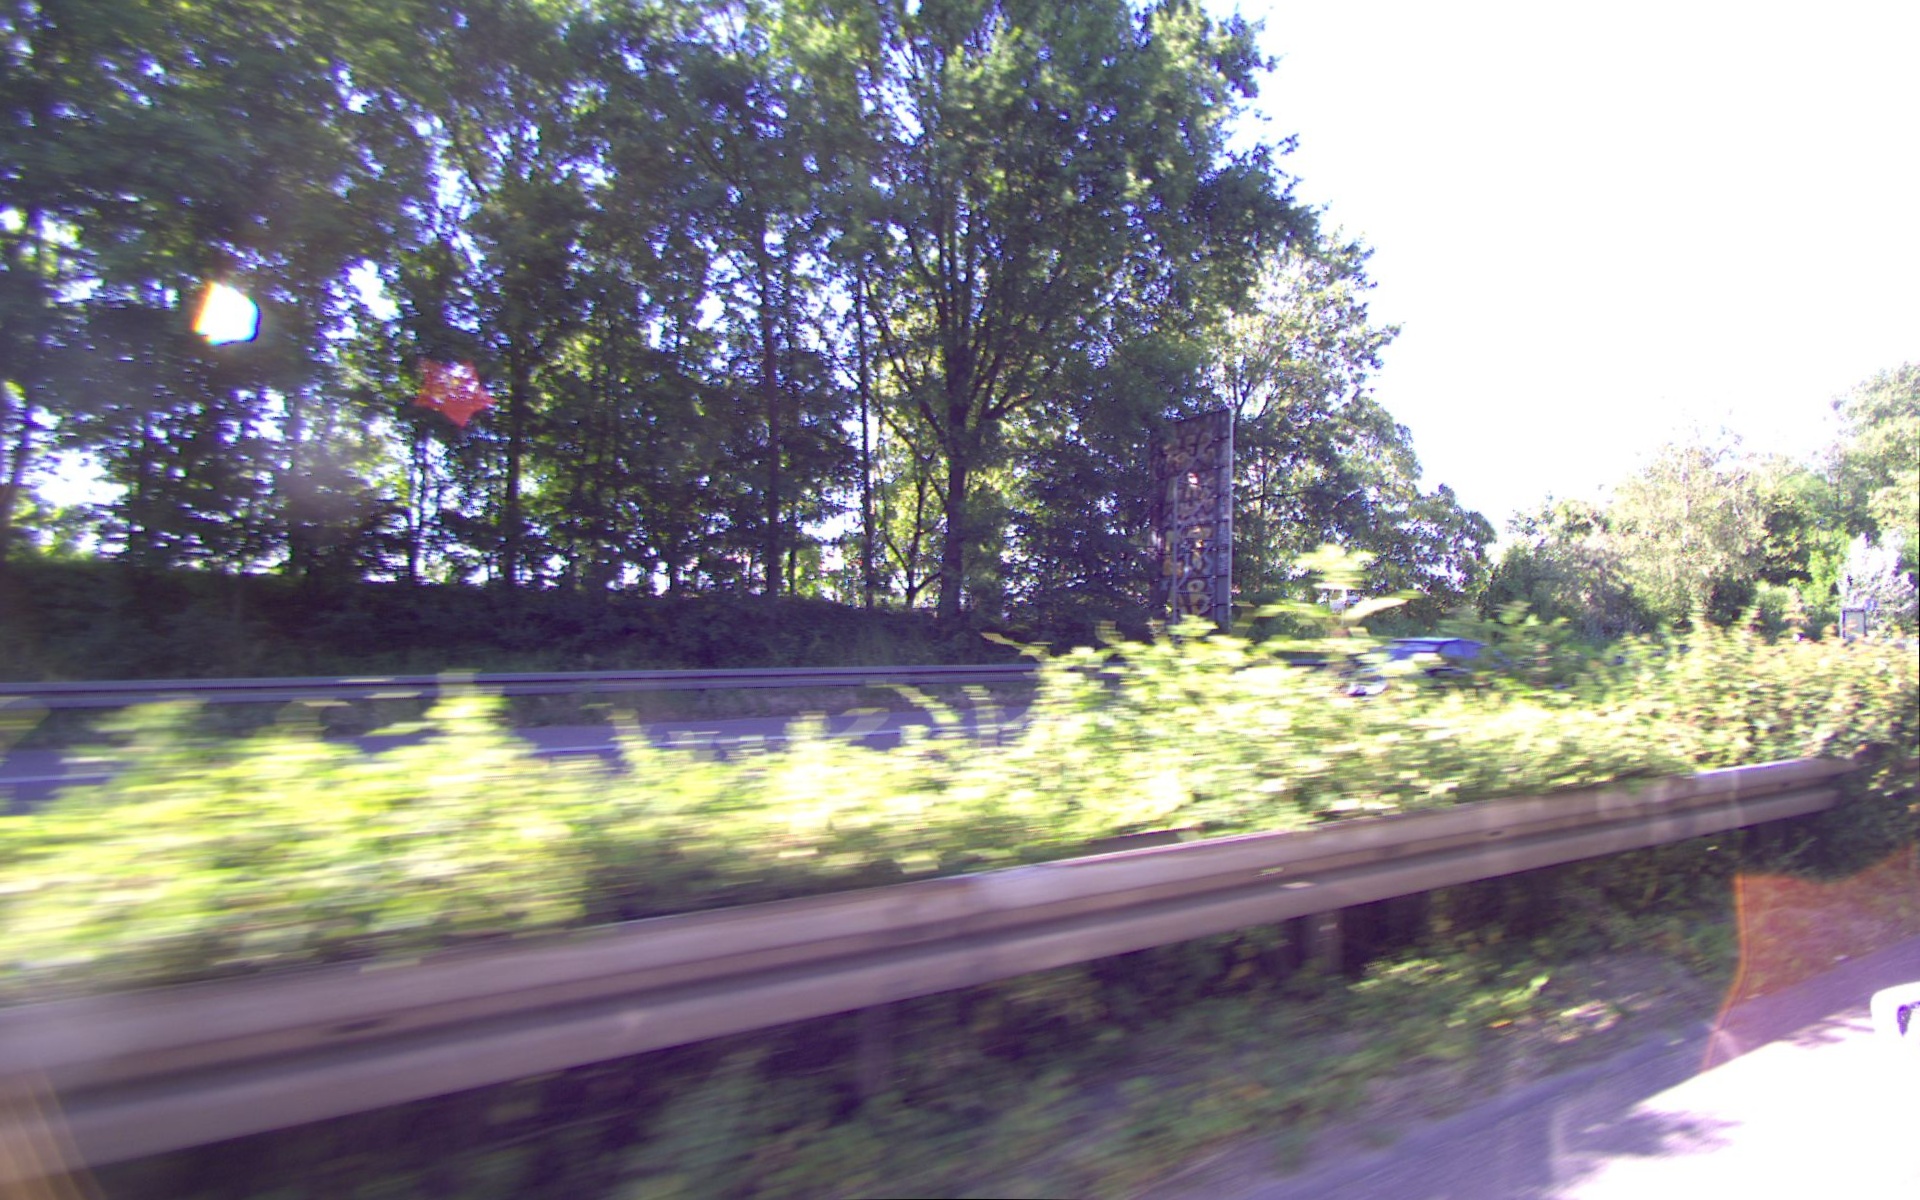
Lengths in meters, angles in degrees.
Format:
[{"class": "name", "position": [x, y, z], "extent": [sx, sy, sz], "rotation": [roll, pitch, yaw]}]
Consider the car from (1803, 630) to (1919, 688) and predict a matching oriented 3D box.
[{"class": "car", "position": [25.729, 1.604, 28.182], "extent": [4.457, 1.469, 1.950], "rotation": [1, -1, -33]}]

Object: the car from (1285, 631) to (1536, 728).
[{"class": "car", "position": [8.050, 1.317, 17.837], "extent": [4.457, 1.469, 1.949], "rotation": [1, 0, -33]}]
